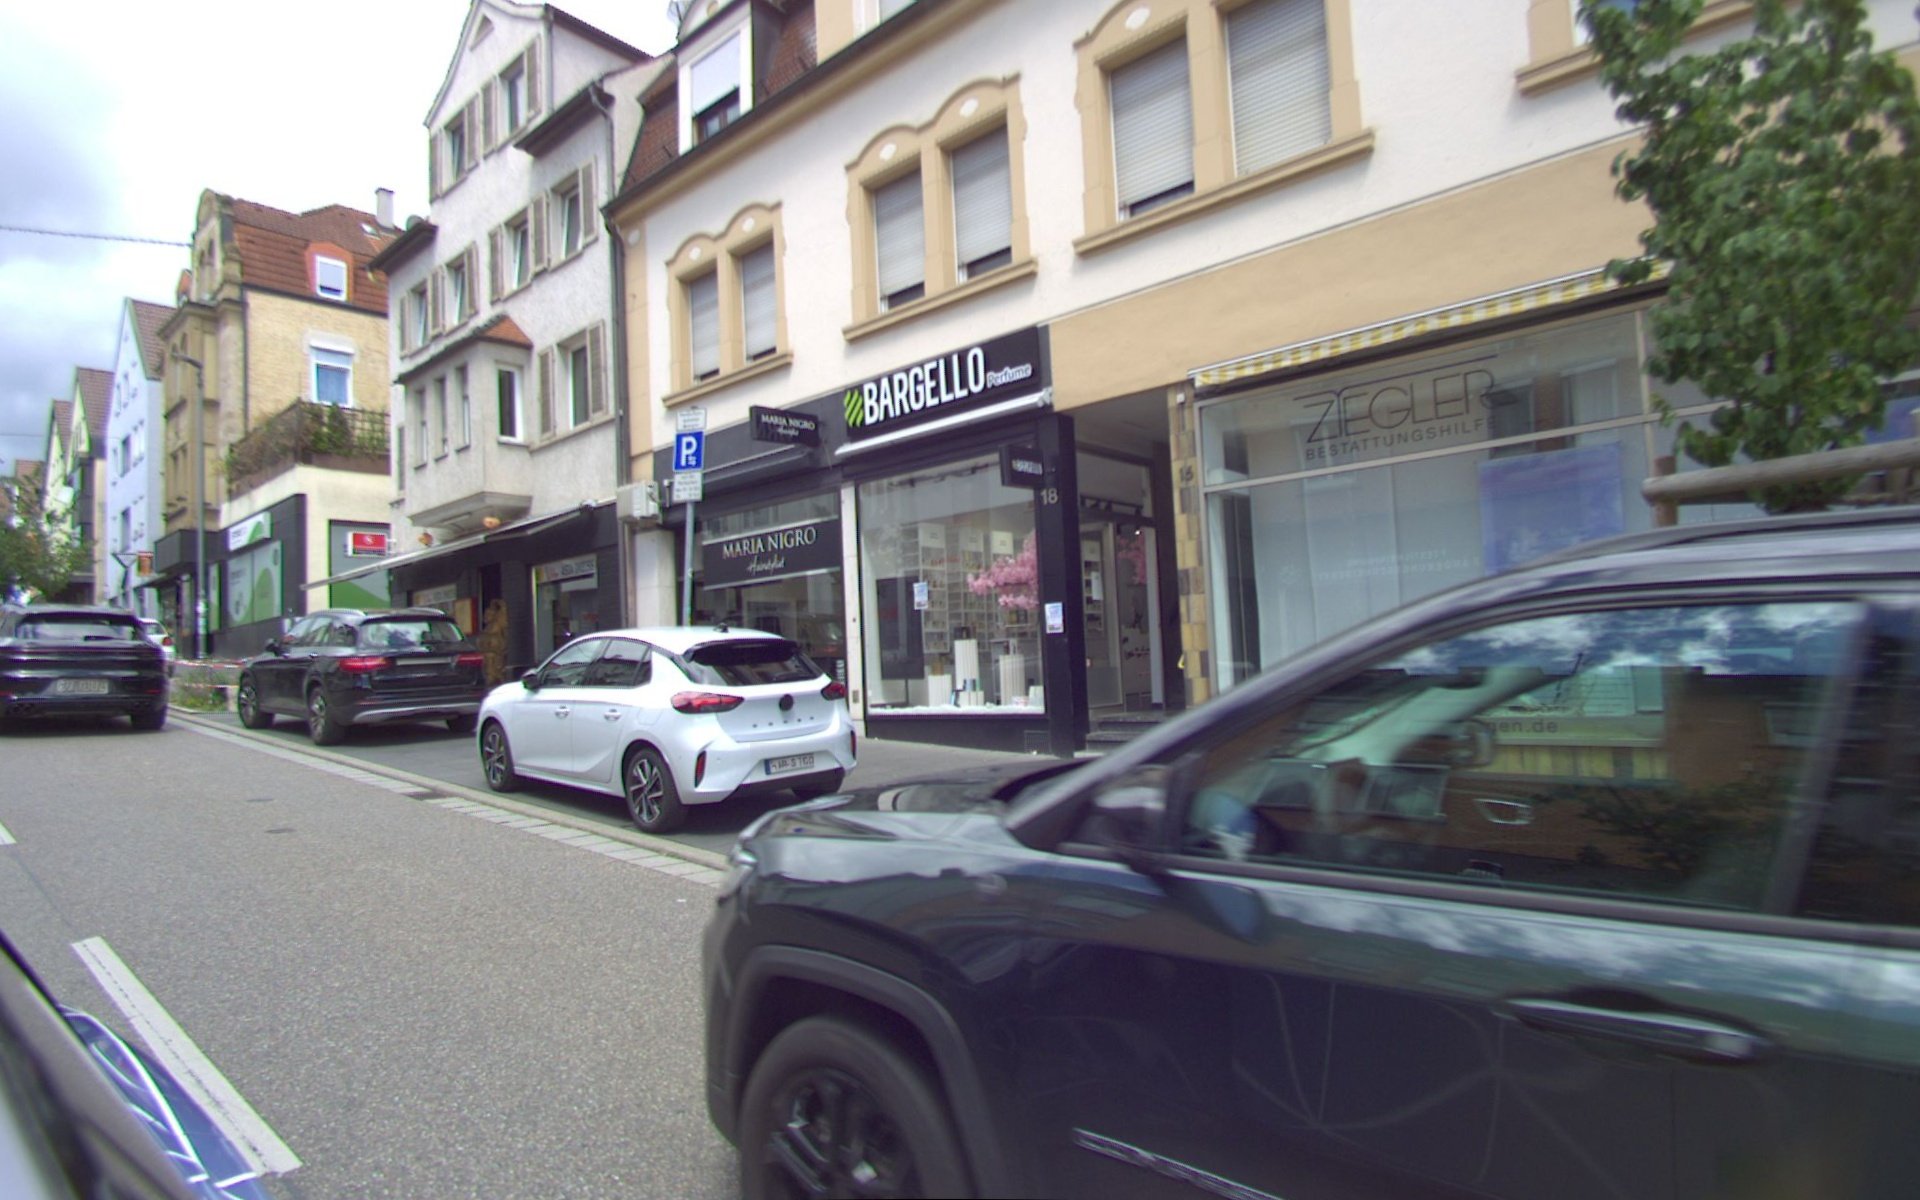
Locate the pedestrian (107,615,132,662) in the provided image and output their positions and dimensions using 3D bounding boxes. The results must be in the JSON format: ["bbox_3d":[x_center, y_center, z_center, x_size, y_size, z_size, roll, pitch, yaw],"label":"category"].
[{"bbox_3d":[-31.603,1.445,38.045,0.710,1.726,0.581,-2,-1,41],"label":"pedestrian"}]

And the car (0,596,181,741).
[{"bbox_3d":[-12.695,0.896,14.172,4.445,1.731,1.971,-1,-3,41],"label":"car"}]

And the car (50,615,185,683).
[{"bbox_3d":[-21.214,1.217,25.434,4.259,1.523,1.907,-3,-1,40],"label":"car"}]

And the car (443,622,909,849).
[{"bbox_3d":[-2.618,0.943,8.709,4.261,1.441,1.906,-2,-2,42],"label":"car"}]

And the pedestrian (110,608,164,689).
[{"bbox_3d":[-17.652,1.025,21.711,0.862,1.685,0.730,-2,-2,39],"label":"pedestrian"}]

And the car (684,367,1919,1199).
[{"bbox_3d":[1.479,0.618,1.595,4.030,1.629,1.746,-2,-3,41],"label":"car"}]

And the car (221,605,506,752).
[{"bbox_3d":[-8.145,0.932,13.638,4.636,1.633,1.907,-1,-1,40],"label":"car"}]

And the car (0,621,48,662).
[{"bbox_3d":[-37.818,1.677,40.054,4.839,1.504,1.907,-3,-1,40],"label":"car"}]
